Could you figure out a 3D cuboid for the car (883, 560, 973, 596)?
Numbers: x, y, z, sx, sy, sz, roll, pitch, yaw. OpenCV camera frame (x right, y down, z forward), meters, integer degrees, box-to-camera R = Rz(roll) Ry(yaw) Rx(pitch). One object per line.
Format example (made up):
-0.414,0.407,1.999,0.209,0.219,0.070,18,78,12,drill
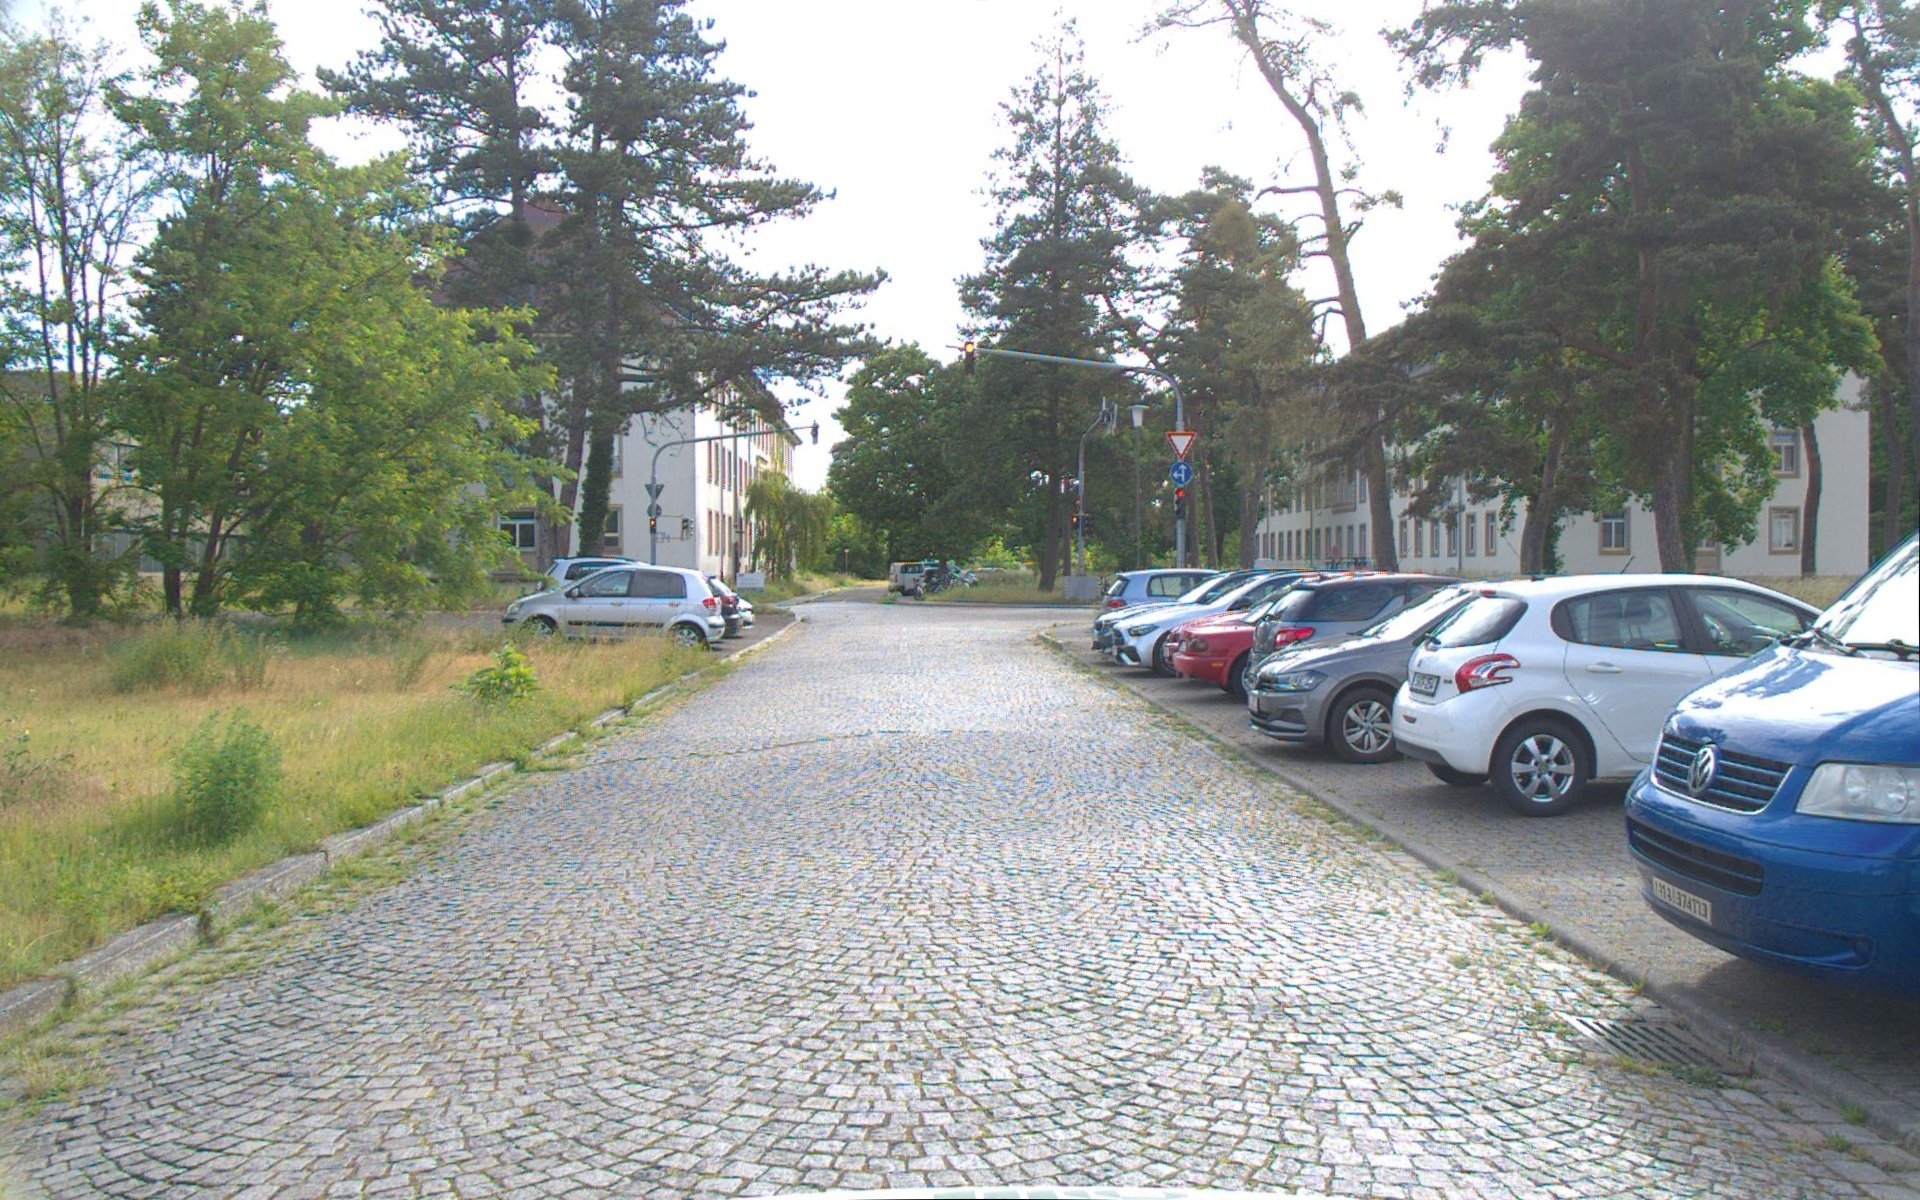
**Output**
-1.851,-1.304,96.259,4.962,2.049,1.994,0,1,-13,car

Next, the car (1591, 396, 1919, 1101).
4.903,0.413,5.869,4.687,2.075,1.737,0,1,-3,car

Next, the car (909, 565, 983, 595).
-0.796,-1.128,93.024,3.912,1.673,1.997,0,1,-8,car

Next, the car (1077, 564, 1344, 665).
4.064,0.203,27.100,4.045,1.570,1.661,0,1,-8,car

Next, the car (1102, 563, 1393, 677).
4.169,0.257,24.290,3.912,1.570,1.661,0,1,-8,car

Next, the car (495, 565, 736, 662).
-5.829,0.193,28.471,3.912,1.579,1.997,0,1,-8,car

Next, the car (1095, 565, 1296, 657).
4.201,0.170,29.677,3.325,1.570,1.389,0,1,-8,car

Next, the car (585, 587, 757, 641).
-6.275,0.289,36.176,3.602,1.113,1.643,0,1,-8,car

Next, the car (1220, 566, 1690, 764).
4.199,0.489,14.213,3.535,1.533,1.659,-1,1,-13,car

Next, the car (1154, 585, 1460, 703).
4.102,0.490,19.806,3.230,1.289,1.661,0,1,-8,car

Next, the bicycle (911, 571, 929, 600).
-1.801,-0.645,74.674,0.793,1.290,1.973,0,1,-1,bicycle

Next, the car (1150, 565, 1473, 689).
4.636,0.320,22.073,3.912,1.570,1.661,0,1,-8,car

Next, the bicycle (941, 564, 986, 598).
0.168,-0.925,79.808,2.120,1.644,0.811,0,1,-9,bicycle

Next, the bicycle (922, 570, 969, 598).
-0.698,-0.753,78.478,2.120,1.290,0.811,0,1,-9,bicycle

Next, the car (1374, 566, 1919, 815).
4.655,0.543,11.246,3.227,1.531,1.663,0,1,-4,car

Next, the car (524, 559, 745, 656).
-6.010,0.106,30.959,3.912,1.735,1.997,0,1,-8,car

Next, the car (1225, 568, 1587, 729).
4.565,0.444,17.107,3.235,1.530,1.659,-1,1,-13,car

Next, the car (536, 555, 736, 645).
-6.593,-0.021,33.971,3.913,1.780,1.923,0,1,-9,car

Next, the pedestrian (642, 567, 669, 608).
-11.562,-0.484,62.783,0.880,1.524,0.904,0,1,-1,pedestrian

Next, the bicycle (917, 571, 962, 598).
-0.994,-0.770,80.268,2.120,1.290,0.811,0,1,-9,bicycle

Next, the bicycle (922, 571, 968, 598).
-0.721,-0.758,79.064,2.120,1.290,0.811,0,1,-9,bicycle
